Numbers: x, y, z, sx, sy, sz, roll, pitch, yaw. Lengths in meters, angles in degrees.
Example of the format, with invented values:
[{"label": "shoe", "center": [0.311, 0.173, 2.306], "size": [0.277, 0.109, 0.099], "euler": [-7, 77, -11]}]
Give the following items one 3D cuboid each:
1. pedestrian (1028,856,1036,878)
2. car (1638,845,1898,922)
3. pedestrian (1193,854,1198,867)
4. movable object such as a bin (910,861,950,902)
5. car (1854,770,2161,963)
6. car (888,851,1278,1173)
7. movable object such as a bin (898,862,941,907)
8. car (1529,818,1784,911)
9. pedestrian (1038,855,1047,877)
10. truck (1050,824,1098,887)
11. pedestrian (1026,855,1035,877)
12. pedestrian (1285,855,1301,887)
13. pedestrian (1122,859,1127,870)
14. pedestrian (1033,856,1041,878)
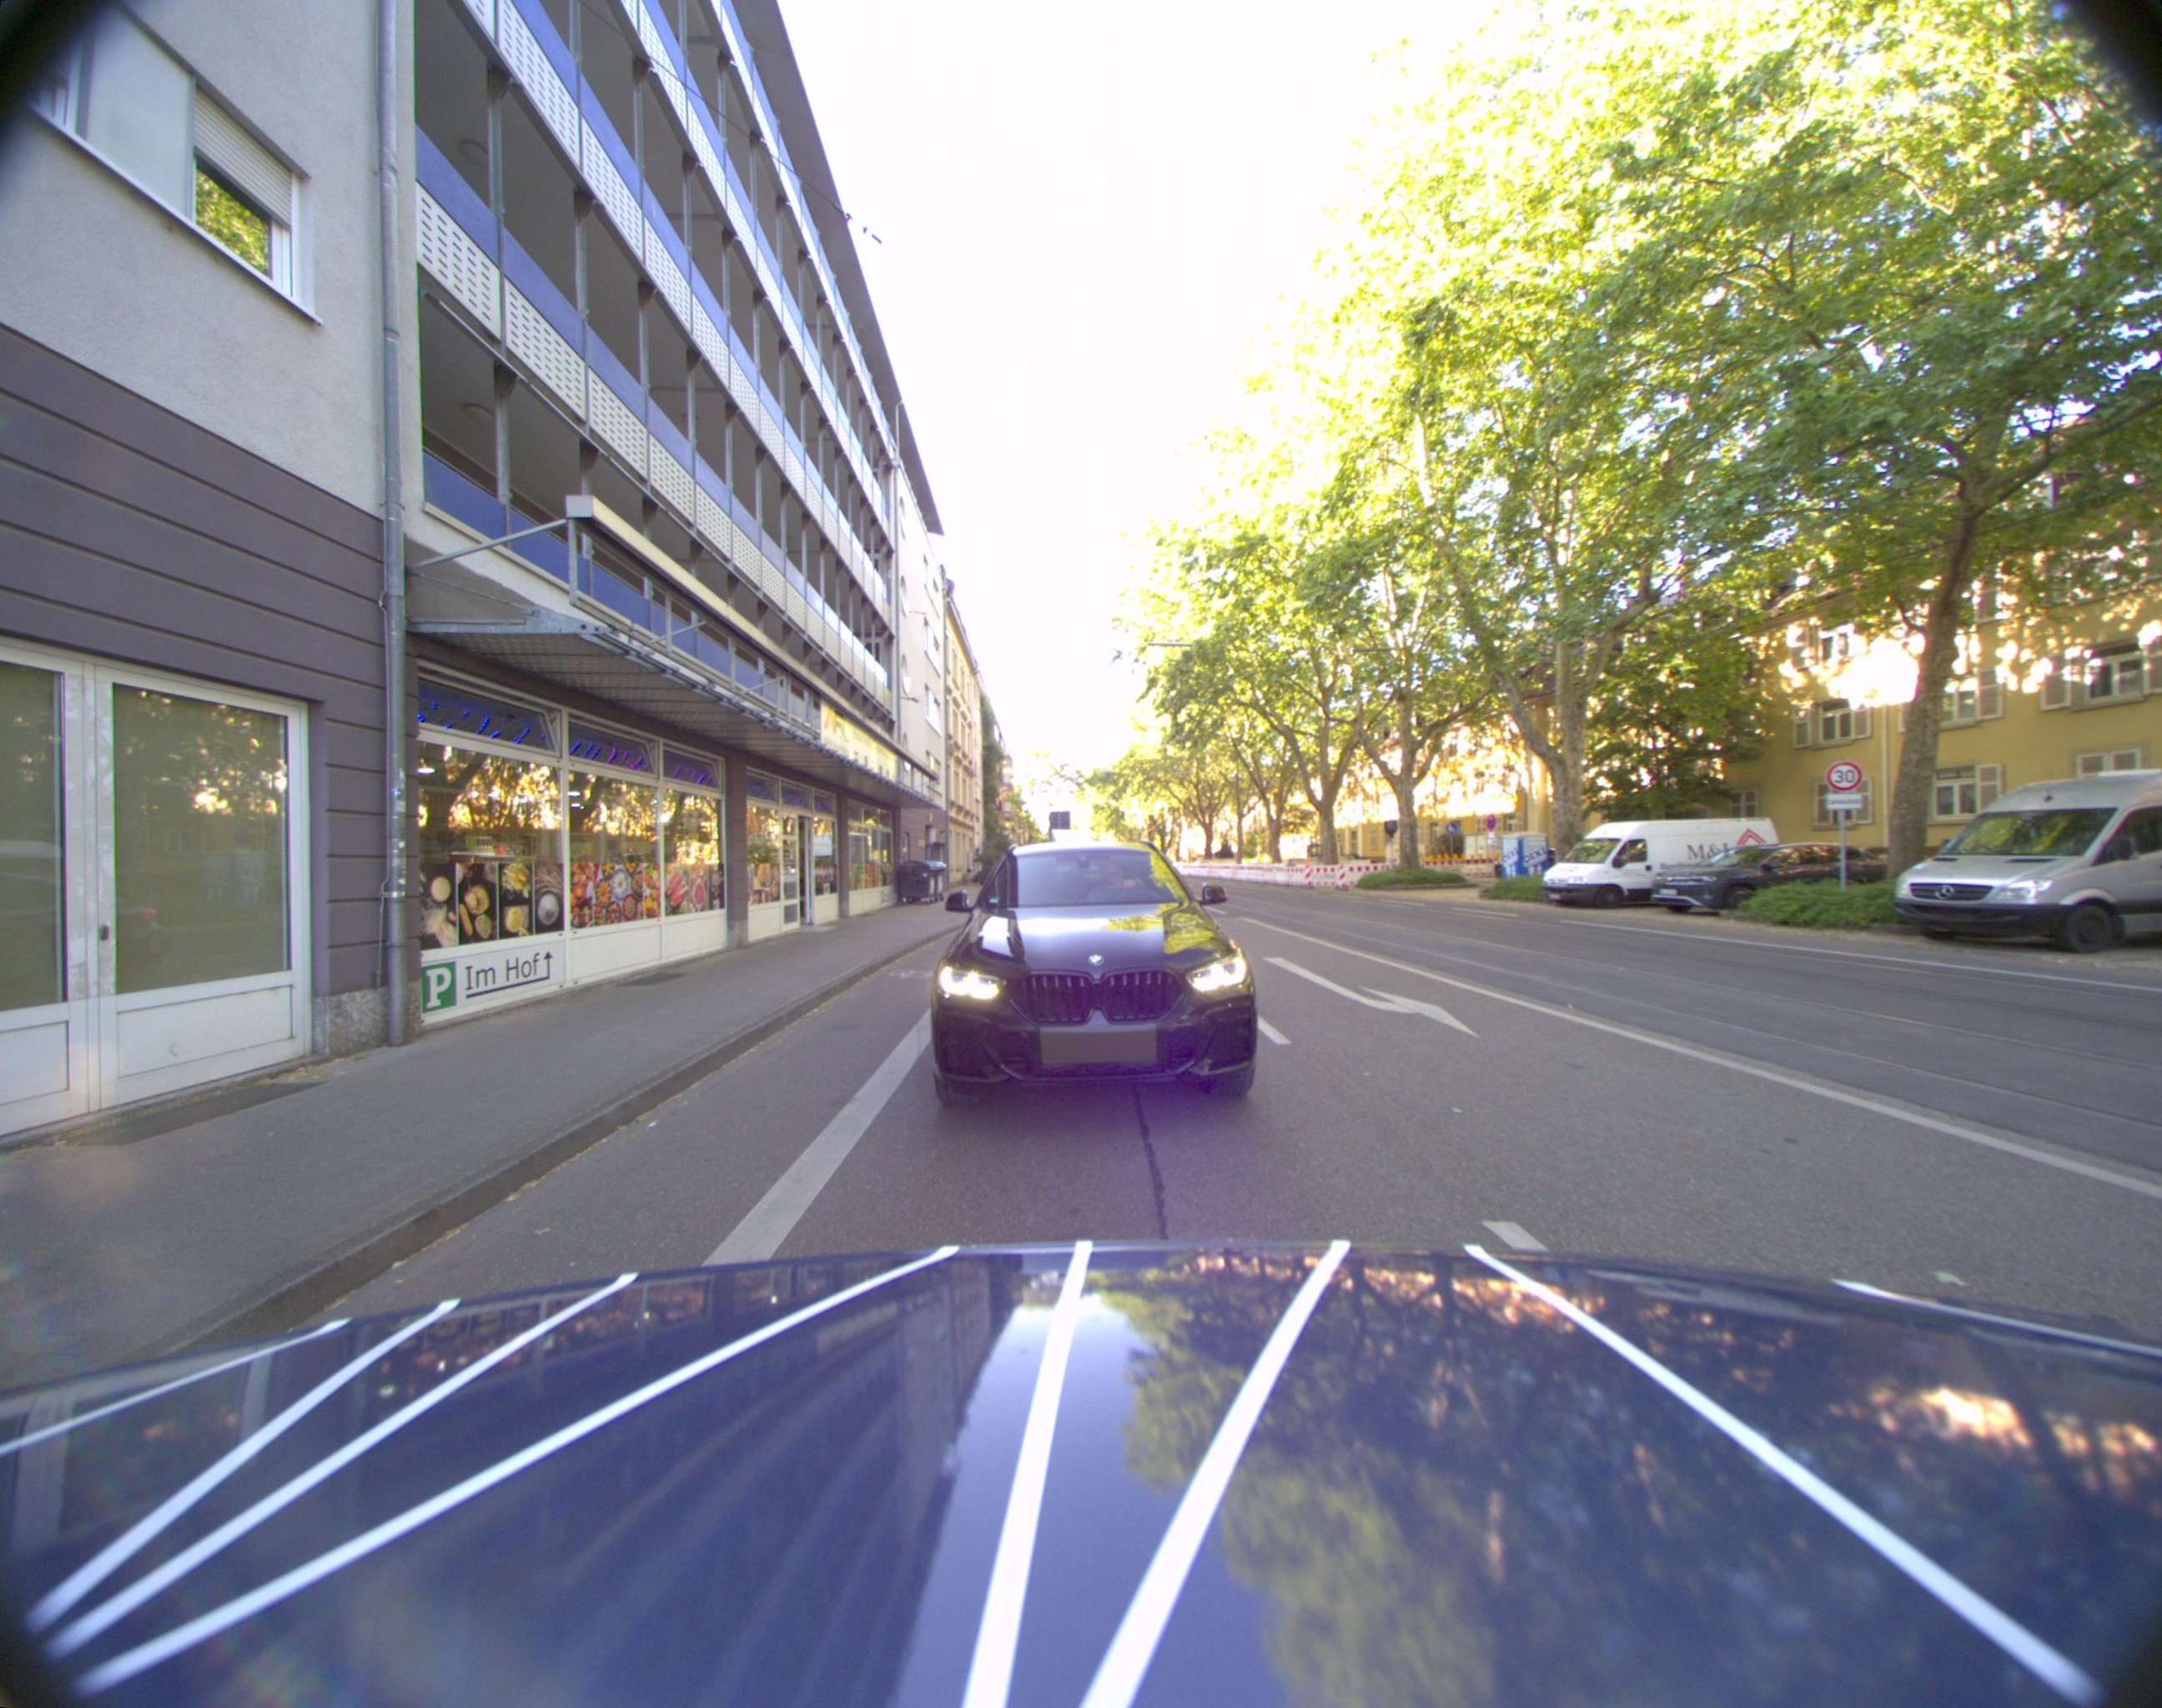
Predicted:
[{"label": "pedestrian", "center": [-4.281, 1.099, 66.146], "size": [0.600, 1.875, 0.581], "euler": [-2, 1, -1]}, {"label": "car", "center": [16.069, 0.659, 17.929], "size": [4.627, 1.642, 1.774], "euler": [-1, 0, -2]}, {"label": "pedestrian", "center": [16.301, 0.901, 108.114], "size": [0.732, 1.875, 0.665], "euler": [-2, 1, 8]}, {"label": "movable object such as a bin", "center": [-5.293, 0.953, 26.670], "size": [1.158, 1.418, 0.939], "euler": [-1, 0, 1]}, {"label": "car", "center": [15.977, 0.129, 11.847], "size": [5.666, 2.666, 2.223], "euler": [-2, 0, -2]}, {"label": "car", "center": [0.036, 0.832, 6.094], "size": [1.998, 1.643, 4.295], "euler": [-1, 0, 1]}, {"label": "movable object such as a bin", "center": [-5.231, 0.979, 24.632], "size": [1.158, 1.418, 0.939], "euler": [-1, 0, 1]}, {"label": "car", "center": [15.835, 0.291, 21.136], "size": [5.404, 2.362, 2.223], "euler": [-1, 0, 0]}, {"label": "pedestrian", "center": [-3.380, 1.041, 67.206], "size": [0.733, 1.875, 0.664], "euler": [-2, 1, -1]}, {"label": "truck", "center": [-0.327, 0.123, 42.200], "size": [2.394, 3.170, 6.587], "euler": [-1, 0, 1]}, {"label": "pedestrian", "center": [-4.509, 1.088, 67.900], "size": [0.733, 1.875, 0.664], "euler": [-2, 1, -1]}, {"label": "pedestrian", "center": [11.985, 0.949, 42.945], "size": [0.652, 1.735, 0.582], "euler": [-2, 1, -8]}, {"label": "pedestrian", "center": [7.268, 1.780, 127.086], "size": [0.733, 1.875, 0.741], "euler": [-2, 1, -1]}, {"label": "pedestrian", "center": [-3.802, 1.088, 65.474], "size": [0.600, 1.875, 0.581], "euler": [-2, 1, -1]}]
